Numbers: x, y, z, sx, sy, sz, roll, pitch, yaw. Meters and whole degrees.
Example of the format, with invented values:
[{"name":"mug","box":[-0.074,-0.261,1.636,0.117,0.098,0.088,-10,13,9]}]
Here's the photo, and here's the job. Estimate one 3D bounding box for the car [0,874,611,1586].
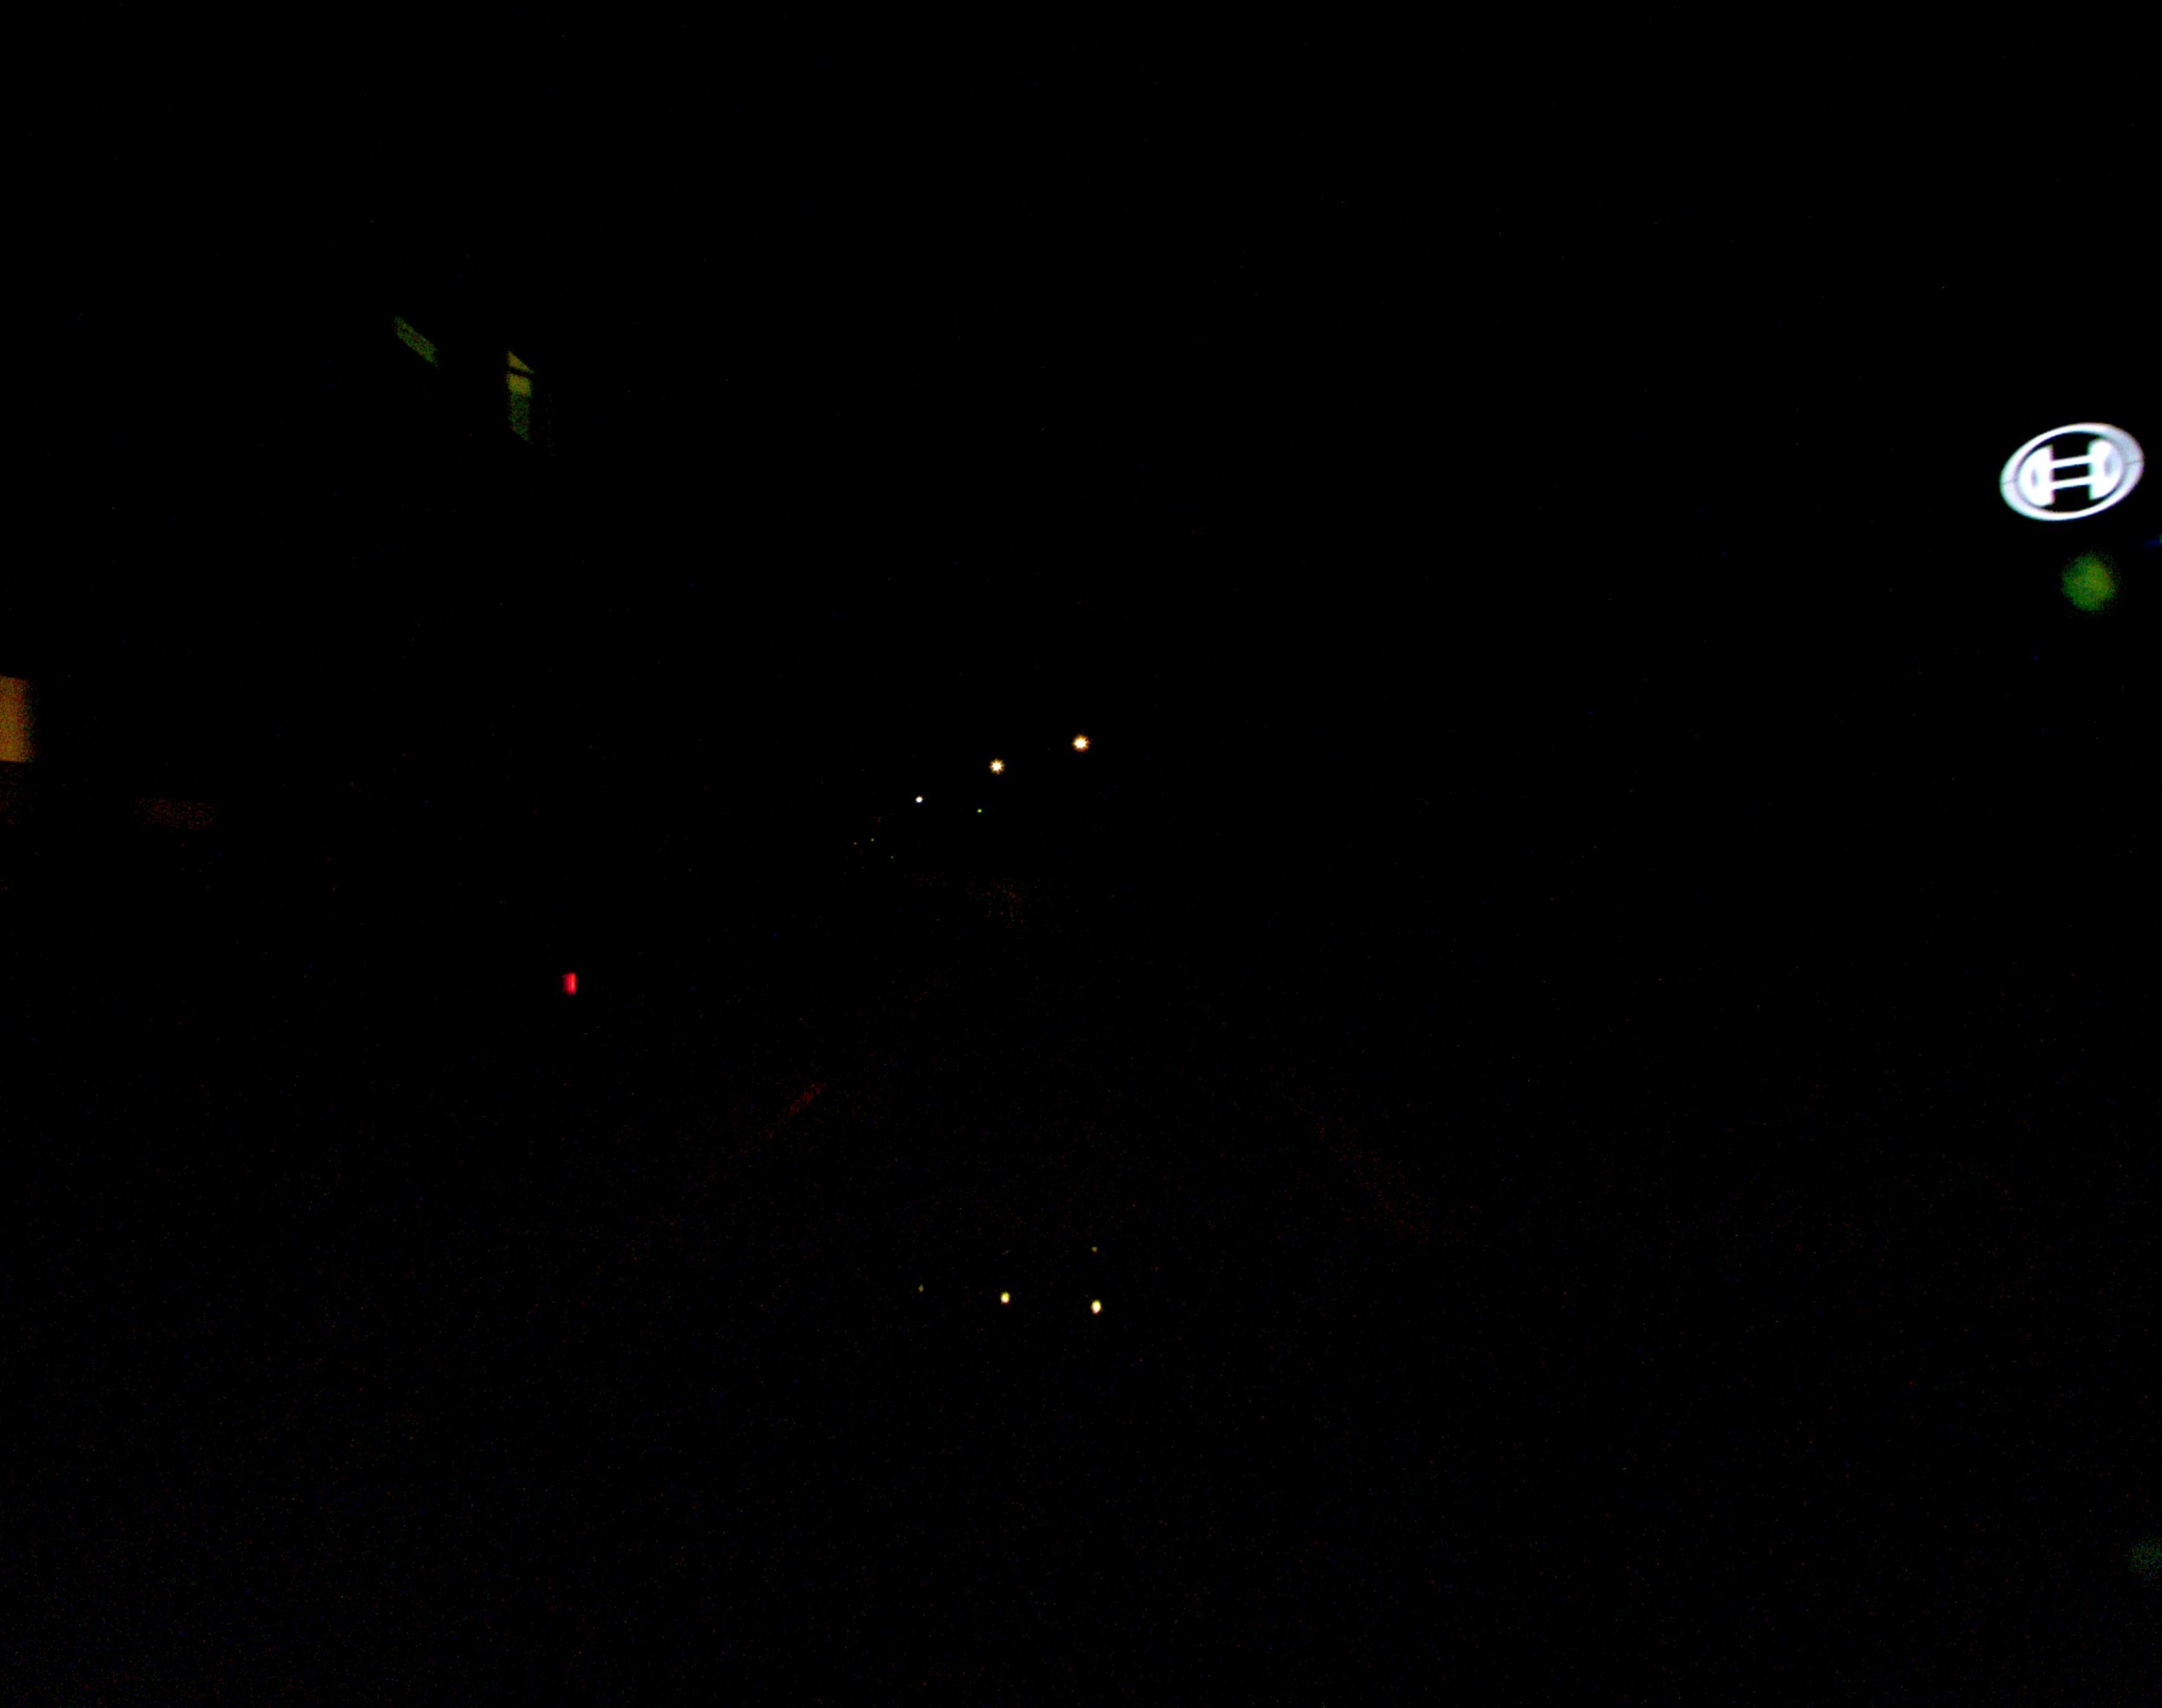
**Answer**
[{"name":"car","box":[-3.430,0.962,1.990,1.674,1.601,4.229,-1,1,1]}]
